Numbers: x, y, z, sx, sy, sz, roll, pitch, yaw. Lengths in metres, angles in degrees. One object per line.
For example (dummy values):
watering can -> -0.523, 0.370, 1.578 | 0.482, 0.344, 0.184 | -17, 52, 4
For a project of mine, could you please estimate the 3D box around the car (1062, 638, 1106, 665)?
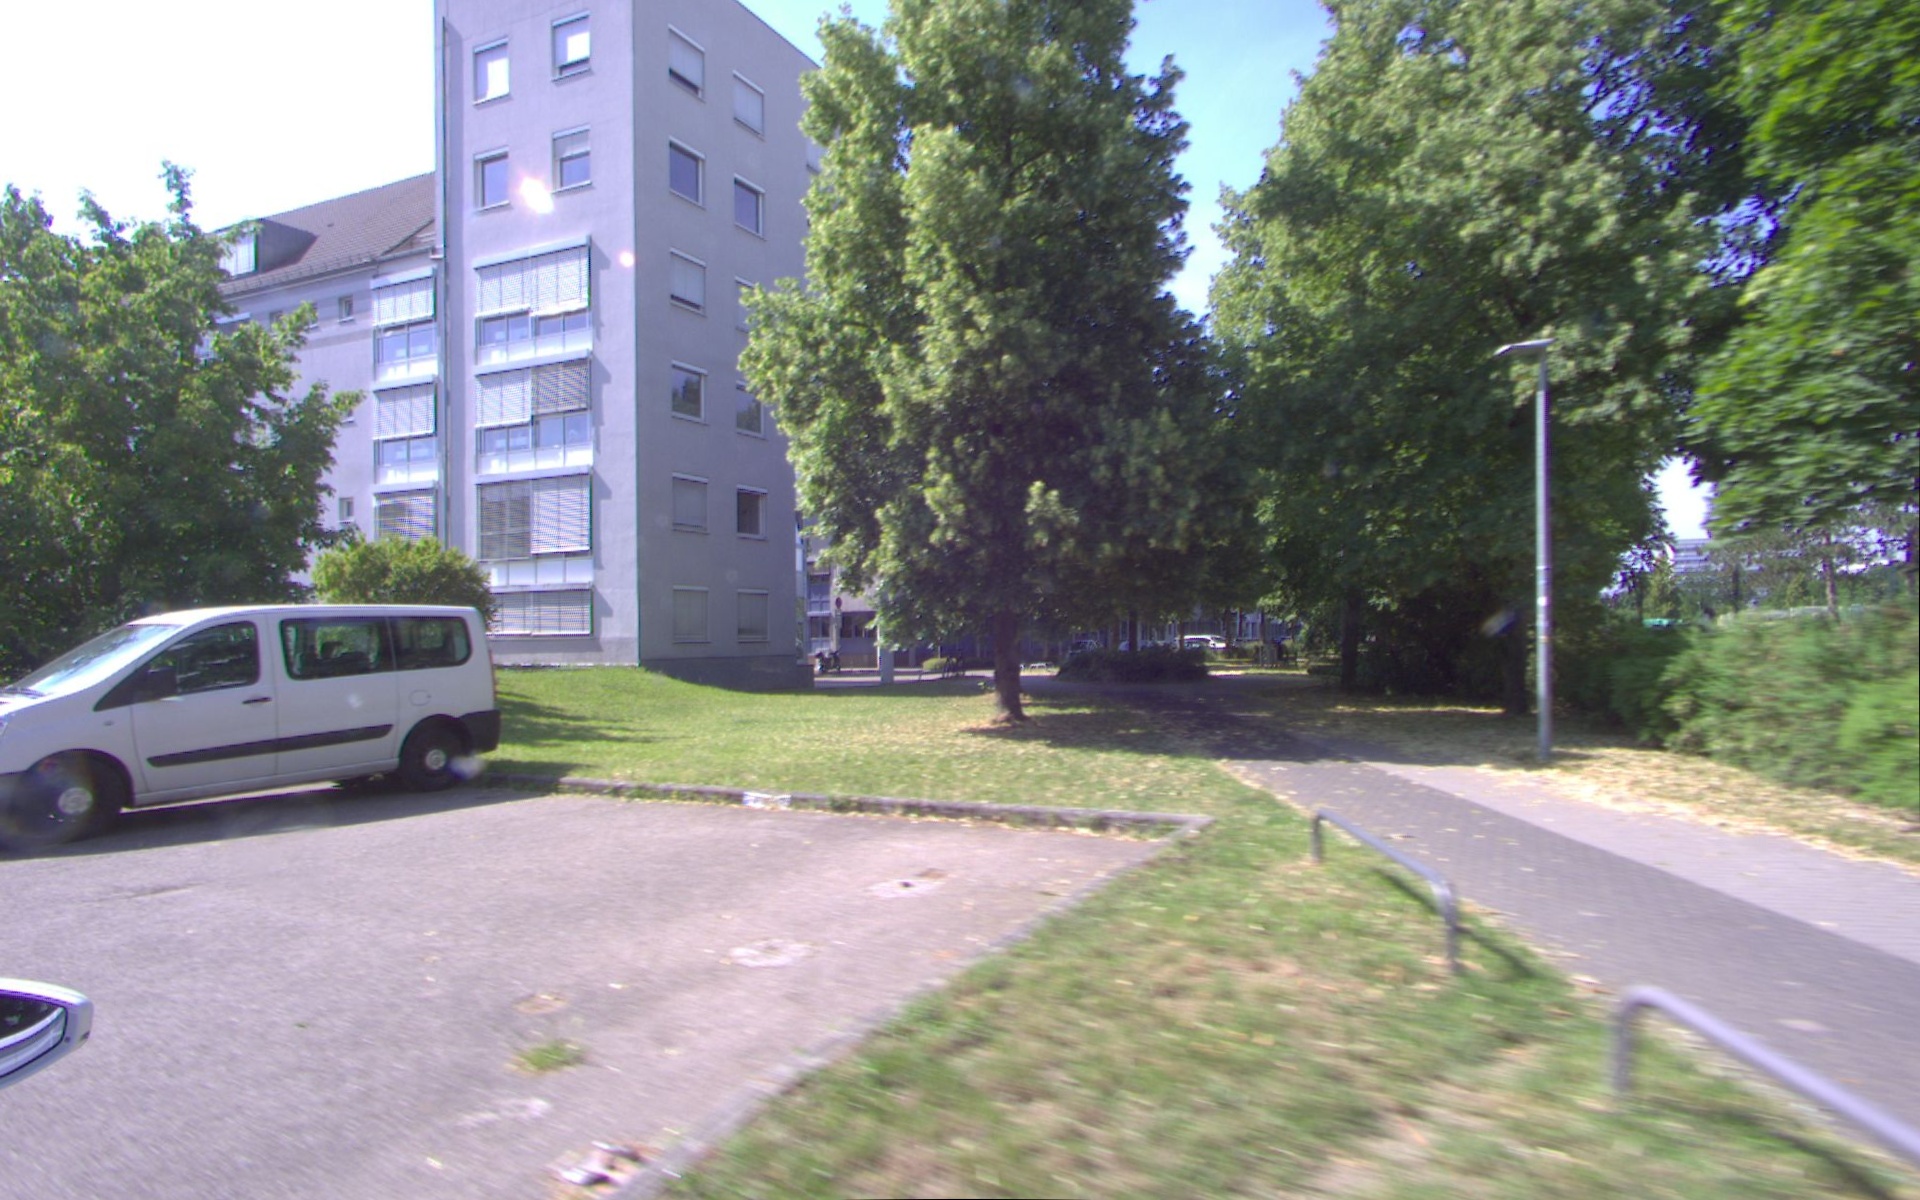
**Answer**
car -> 8.197, 3.375, 66.075 | 1.831, 1.617, 3.988 | 0, -1, 24

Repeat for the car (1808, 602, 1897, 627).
car -> 60.410, 0.985, 67.873 | 4.303, 1.623, 1.544 | -1, -2, 32

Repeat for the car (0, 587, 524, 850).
car -> -7.036, 0.955, 9.652 | 1.971, 1.957, 5.018 | -1, -2, 30

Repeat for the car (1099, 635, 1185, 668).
car -> 10.090, 2.824, 55.600 | 4.305, 1.661, 1.990 | -1, 0, 32

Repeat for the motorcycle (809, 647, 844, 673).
motorcycle -> -6.710, 3.006, 50.524 | 0.621, 1.262, 2.053 | -1, -2, 30

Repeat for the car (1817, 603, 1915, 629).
car -> 59.418, 1.081, 65.784 | 4.514, 1.623, 1.544 | -1, -2, 32

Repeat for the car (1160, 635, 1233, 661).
car -> 16.164, 3.268, 68.466 | 4.501, 1.631, 1.989 | -1, 0, 34

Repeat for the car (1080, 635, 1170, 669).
car -> 8.795, 2.756, 53.472 | 4.374, 1.661, 1.990 | -1, 0, 32

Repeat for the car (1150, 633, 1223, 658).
car -> 15.074, 3.005, 66.722 | 4.489, 1.567, 1.764 | -1, -2, 35

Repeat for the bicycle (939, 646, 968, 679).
bicycle -> -0.210, 2.106, 34.061 | 0.388, 1.063, 1.444 | -1, -2, 27
